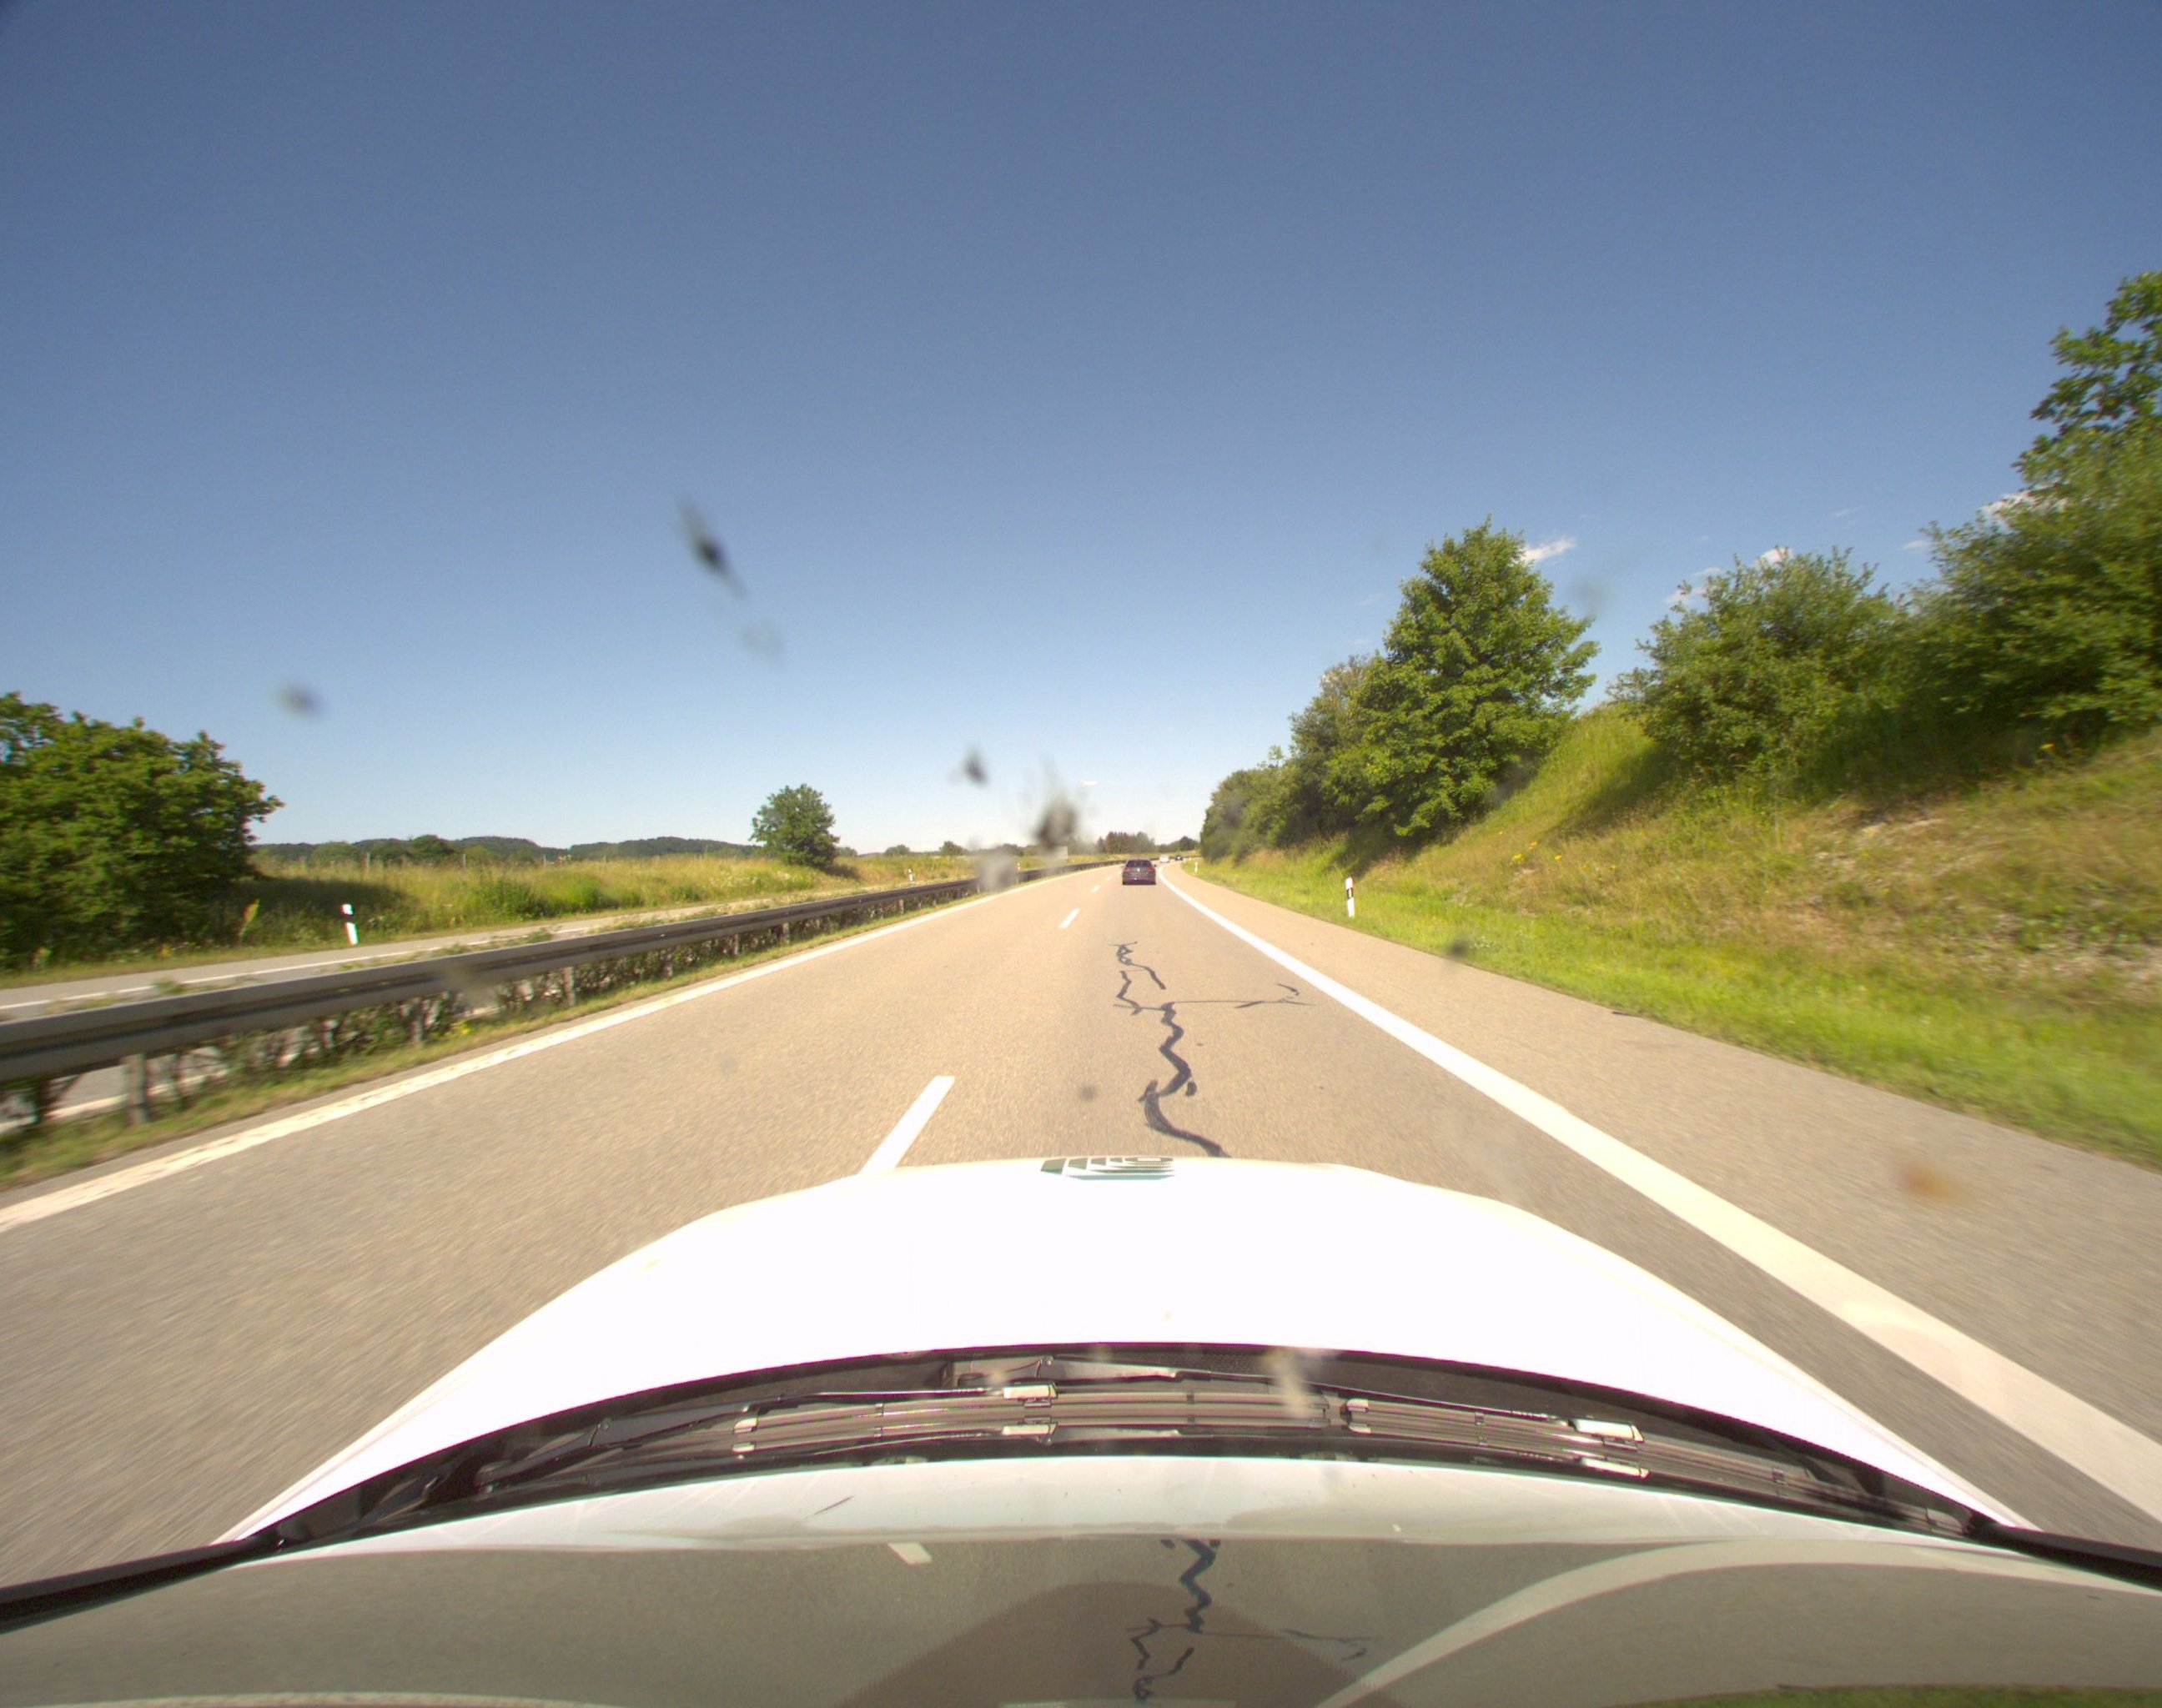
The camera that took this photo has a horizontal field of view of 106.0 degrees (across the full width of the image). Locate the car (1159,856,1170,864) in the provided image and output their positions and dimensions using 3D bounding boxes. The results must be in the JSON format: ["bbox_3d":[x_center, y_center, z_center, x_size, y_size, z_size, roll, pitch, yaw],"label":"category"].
[{"bbox_3d":[16.721,1.204,162.897,1.996,1.344,4.007,0,-1,7],"label":"car"}]

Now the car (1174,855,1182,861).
[{"bbox_3d":[23.847,0.947,199.410,1.700,1.387,3.364,0,-1,10],"label":"car"}]

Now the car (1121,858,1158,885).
[{"bbox_3d":[3.113,0.917,43.872,1.784,1.344,4.001,0,0,1],"label":"car"}]
